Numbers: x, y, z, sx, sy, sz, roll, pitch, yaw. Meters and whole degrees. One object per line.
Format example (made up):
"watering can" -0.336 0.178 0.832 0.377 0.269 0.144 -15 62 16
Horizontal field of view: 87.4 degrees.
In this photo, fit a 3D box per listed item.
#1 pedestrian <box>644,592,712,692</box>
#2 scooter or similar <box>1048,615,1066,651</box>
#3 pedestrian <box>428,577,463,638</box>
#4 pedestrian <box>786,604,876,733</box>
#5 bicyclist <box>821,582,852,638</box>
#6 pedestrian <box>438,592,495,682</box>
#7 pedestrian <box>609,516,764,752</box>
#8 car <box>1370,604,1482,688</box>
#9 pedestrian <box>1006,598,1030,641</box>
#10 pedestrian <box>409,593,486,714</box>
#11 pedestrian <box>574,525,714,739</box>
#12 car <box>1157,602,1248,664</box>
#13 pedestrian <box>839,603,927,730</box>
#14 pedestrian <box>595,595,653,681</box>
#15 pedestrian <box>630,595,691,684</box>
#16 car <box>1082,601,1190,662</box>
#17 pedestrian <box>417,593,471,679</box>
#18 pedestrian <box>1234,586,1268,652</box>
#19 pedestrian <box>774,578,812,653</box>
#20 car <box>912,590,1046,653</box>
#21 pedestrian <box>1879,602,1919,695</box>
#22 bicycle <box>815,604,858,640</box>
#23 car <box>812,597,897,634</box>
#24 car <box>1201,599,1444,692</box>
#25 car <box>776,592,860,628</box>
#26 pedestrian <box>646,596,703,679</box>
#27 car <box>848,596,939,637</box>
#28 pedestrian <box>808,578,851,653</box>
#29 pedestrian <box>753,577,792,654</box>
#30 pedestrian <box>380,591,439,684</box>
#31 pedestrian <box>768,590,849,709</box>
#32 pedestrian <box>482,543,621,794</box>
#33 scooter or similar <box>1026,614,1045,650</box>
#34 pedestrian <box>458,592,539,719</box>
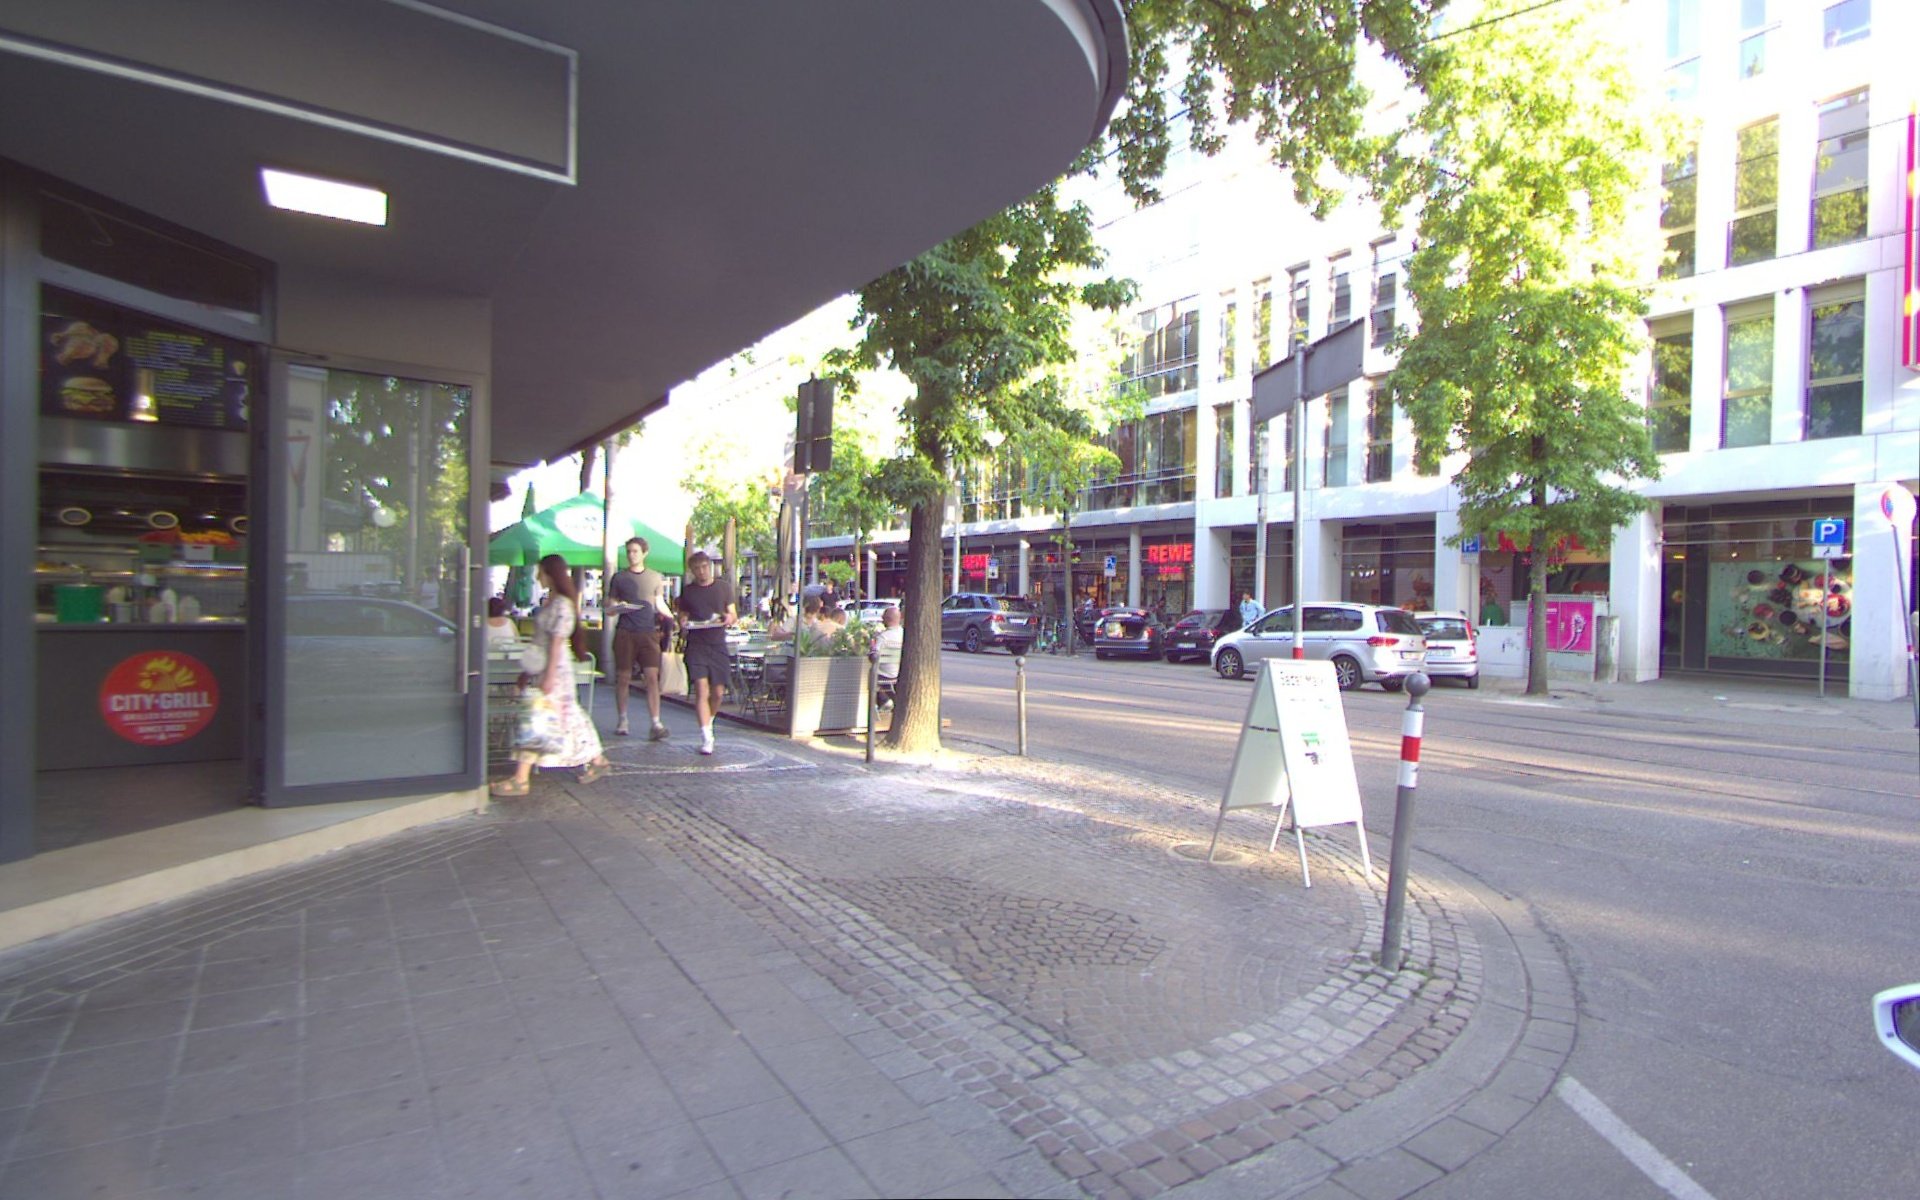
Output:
"pedestrian" -4.073 0.590 14.523 0.724 1.377 0.706 0 2 -37
"scooter or similar" 3.088 1.014 31.816 0.382 1.085 1.807 1 0 10
"pedestrian" -14.215 0.205 27.762 0.704 1.628 0.871 1 0 -38
"pedestrian" -1.436 0.728 11.154 0.707 1.346 0.723 0 2 -37
"bicyclist" -4.219 0.329 34.187 0.648 1.880 0.981 1 0 -35
"pedestrian" -7.357 0.538 14.964 0.648 1.277 0.666 0 2 -37
"pedestrian" -2.437 0.287 8.917 1.020 1.927 1.058 1 -1 -36
"car" 10.269 0.922 21.978 1.916 1.526 3.990 0 2 29
"pedestrian" 2.213 0.738 38.293 0.607 1.649 0.635 1 0 -43
"pedestrian" -5.689 0.569 11.135 0.648 1.277 0.666 0 2 -37
"pedestrian" -3.077 0.299 9.763 1.020 1.927 1.058 1 -1 -36
"car" 6.862 0.861 28.182 1.562 1.526 3.585 0 2 29
"pedestrian" -0.896 0.735 11.599 0.724 1.377 0.706 0 2 -37
"pedestrian" -5.645 0.626 16.874 0.724 1.377 0.706 0 2 -37
"pedestrian" -4.836 0.615 16.226 0.724 1.377 0.706 0 2 -37
"car" 5.225 0.859 29.396 1.916 1.526 3.990 0 2 29
"pedestrian" -8.080 0.546 15.723 0.648 1.277 0.666 0 2 -37
"pedestrian" 7.384 0.474 25.527 0.631 1.649 0.641 1 1 36
"pedestrian" -4.429 0.414 26.565 0.704 1.927 1.062 1 -1 -27
"car" 0.486 0.618 30.505 1.851 1.760 4.240 3 -1 -36
"pedestrian" 17.440 0.876 18.360 0.599 1.649 0.873 0 -1 16
"bicycle" -4.233 0.728 34.209 0.507 1.166 2.035 0 1 -36
"car" -4.832 0.683 46.496 1.916 1.526 3.990 -2 1 29
"car" 7.058 0.839 19.939 1.811 1.613 4.240 3 -1 -36
"car" -6.775 0.460 48.364 1.916 1.526 3.990 -2 1 29
"pedestrian" -4.935 0.633 17.361 0.724 1.377 0.706 0 2 -37
"car" -2.731 0.660 42.132 1.916 1.526 3.990 -2 1 29
"pedestrian" -3.466 0.418 26.589 0.816 1.927 1.062 1 -1 -27
"pedestrian" -4.794 0.397 25.668 0.704 1.927 1.062 1 -1 -27
"pedestrian" -7.963 0.528 14.531 0.648 1.277 0.666 0 2 -37
"pedestrian" -1.864 0.584 12.336 0.724 1.377 0.706 0 2 -37
"pedestrian" -2.722 0.438 6.759 0.590 1.593 0.754 0 -1 3
"scooter or similar" 2.420 1.014 32.111 0.382 1.085 1.807 1 0 10
"pedestrian" -4.900 0.564 10.662 0.648 1.277 0.666 0 2 -37
